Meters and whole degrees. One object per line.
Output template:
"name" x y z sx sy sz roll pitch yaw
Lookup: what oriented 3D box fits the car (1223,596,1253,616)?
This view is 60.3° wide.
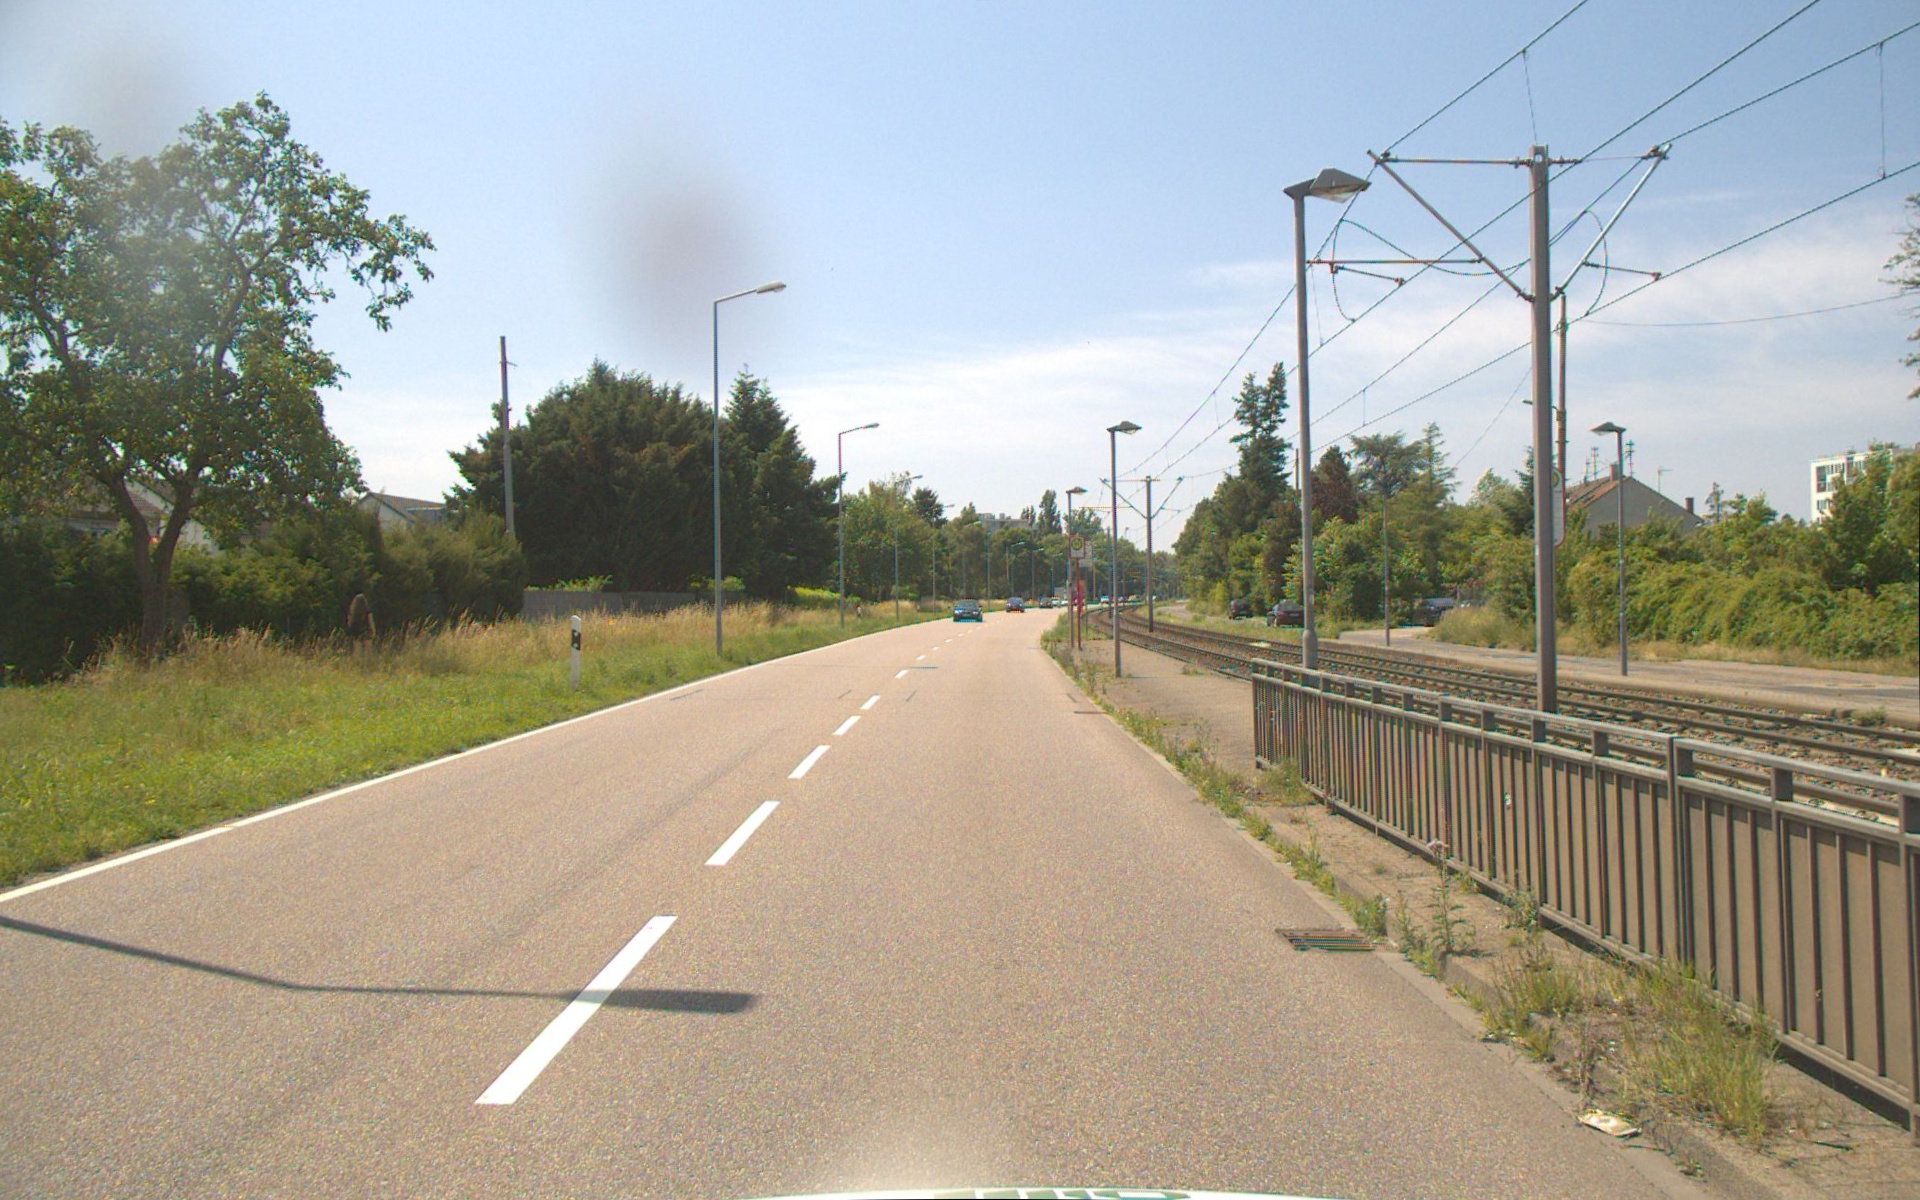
"car" 21.283 0.468 126.876 1.874 1.496 4.002 0 0 4

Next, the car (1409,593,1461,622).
"car" 24.280 0.390 84.672 1.685 1.444 3.740 0 0 1

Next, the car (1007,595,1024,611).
"car" 6.096 0.352 181.480 1.710 1.660 4.031 0 0 3

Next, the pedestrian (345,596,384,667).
"pedestrian" -12.900 0.677 35.850 0.596 1.503 0.633 0 0 2

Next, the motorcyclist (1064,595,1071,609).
"motorcyclist" 14.539 0.253 223.582 0.872 1.938 1.016 0 -1 8

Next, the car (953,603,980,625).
"car" 0.461 0.952 112.848 1.671 1.429 4.709 0 0 2

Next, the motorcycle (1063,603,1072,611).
"motorcycle" 14.561 0.952 223.745 0.949 1.137 2.735 0 0 8

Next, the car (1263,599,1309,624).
"car" 18.457 0.643 93.742 1.822 1.353 4.515 0 0 1

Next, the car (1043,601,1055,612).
"car" 12.655 0.878 235.656 1.665 1.517 4.442 0 0 4
